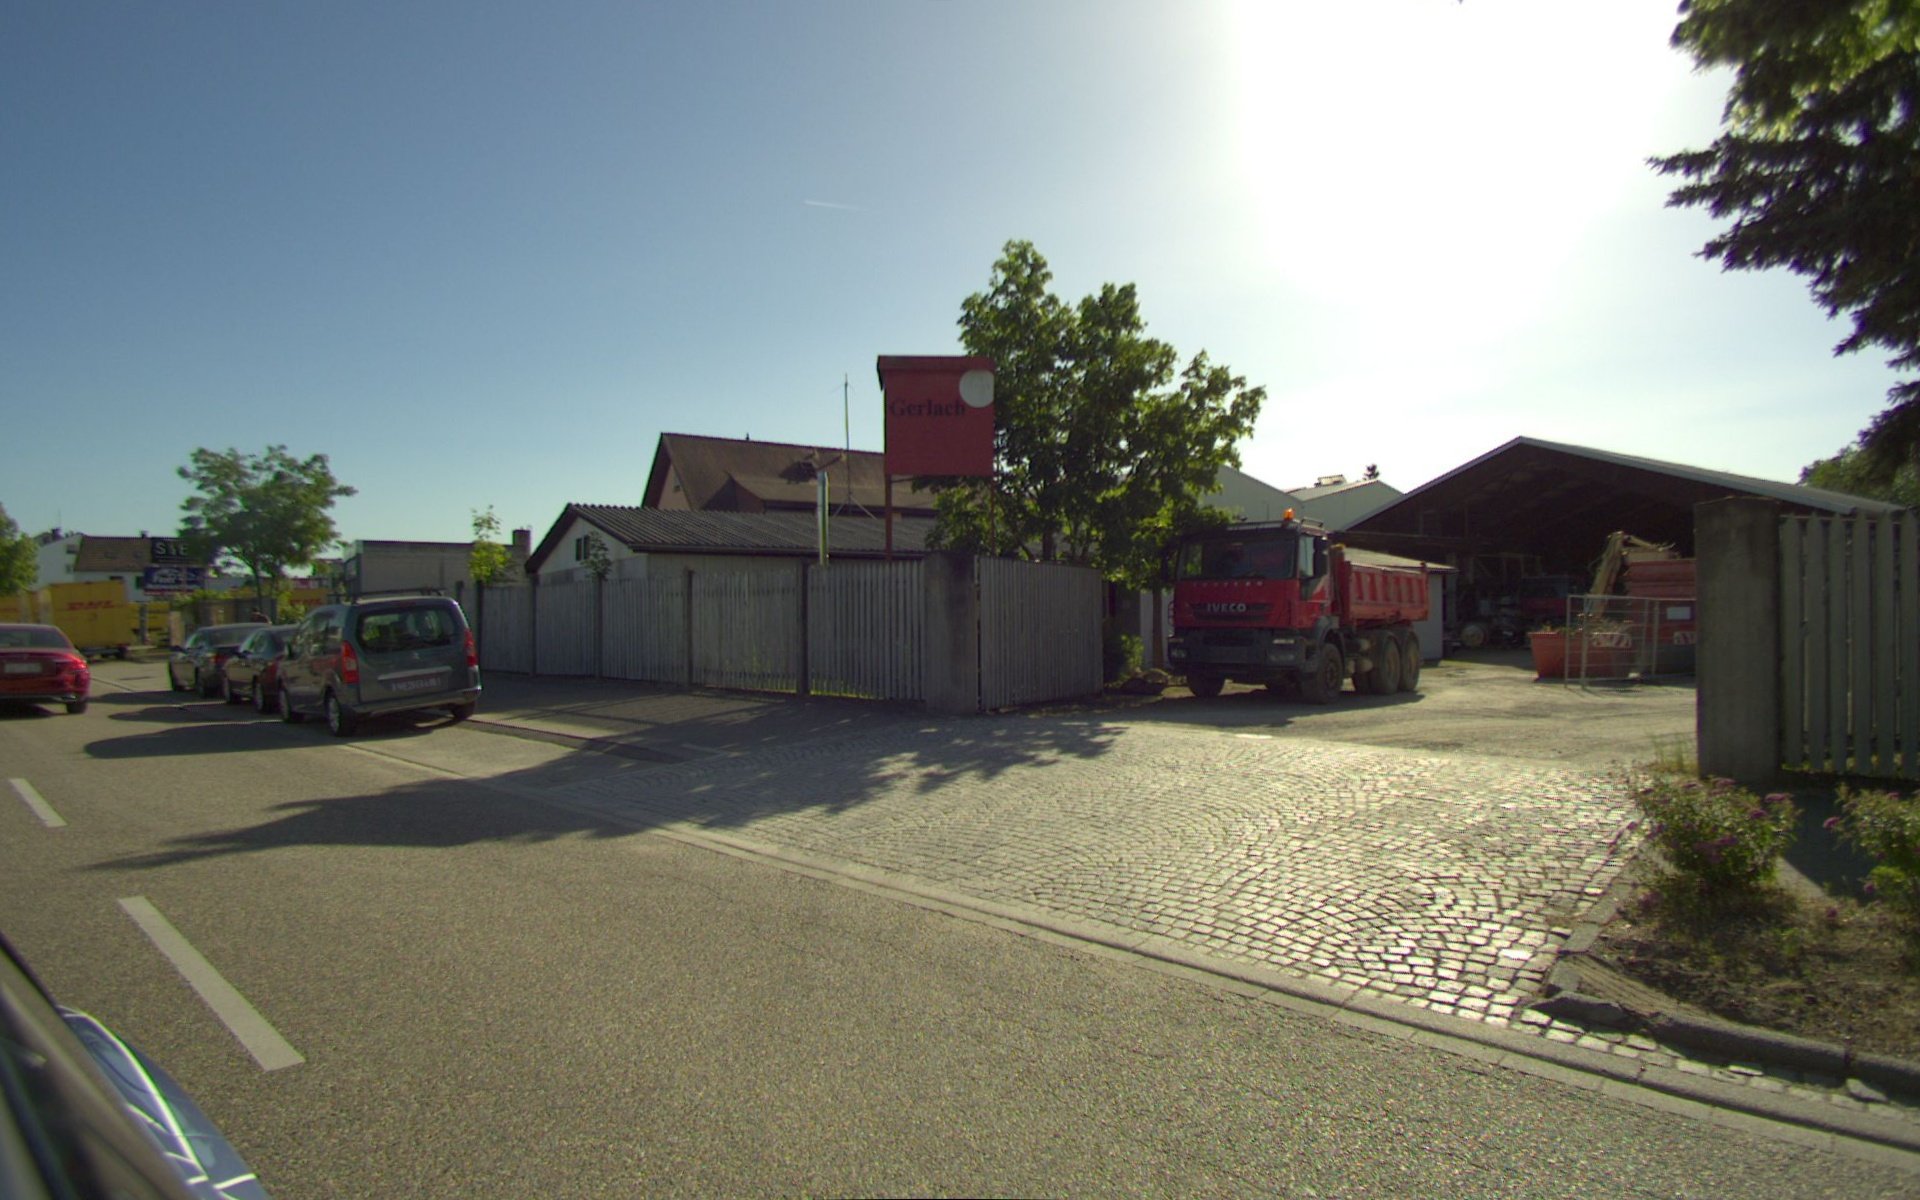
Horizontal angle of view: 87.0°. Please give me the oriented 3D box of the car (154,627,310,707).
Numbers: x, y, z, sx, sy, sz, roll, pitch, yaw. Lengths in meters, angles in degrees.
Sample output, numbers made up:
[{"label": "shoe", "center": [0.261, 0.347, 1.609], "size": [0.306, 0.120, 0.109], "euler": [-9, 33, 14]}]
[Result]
[{"label": "car", "center": [-15.653, 1.346, 21.651], "size": [4.923, 1.459, 1.756], "euler": [-2, 0, 43]}]

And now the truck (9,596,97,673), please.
[{"label": "truck", "center": [-36.958, 1.370, 41.186], "size": [5.749, 2.895, 2.116], "euler": [-1, 0, 43]}]

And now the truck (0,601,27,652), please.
[{"label": "truck", "center": [-59.578, 1.616, 62.641], "size": [5.910, 3.052, 2.256], "euler": [-1, 0, 43]}]

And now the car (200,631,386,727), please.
[{"label": "car", "center": [-12.244, 1.339, 18.448], "size": [4.615, 1.459, 1.756], "euler": [-2, 0, 43]}]

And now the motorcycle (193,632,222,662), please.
[{"label": "motorcycle", "center": [-27.641, 1.713, 37.156], "size": [0.530, 1.065, 2.071], "euler": [-2, 0, -44]}]

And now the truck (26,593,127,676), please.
[{"label": "truck", "center": [-31.947, 1.172, 36.533], "size": [5.749, 2.734, 2.144], "euler": [-1, 0, 43]}]

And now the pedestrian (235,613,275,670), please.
[{"label": "pedestrian", "center": [-22.471, 1.323, 32.262], "size": [0.750, 1.756, 0.811], "euler": [-1, 0, 36]}]

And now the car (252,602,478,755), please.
[{"label": "car", "center": [-8.882, 1.029, 14.913], "size": [1.755, 1.863, 4.618], "euler": [-2, 0, -45]}]

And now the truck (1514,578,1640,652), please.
[{"label": "truck", "center": [27.855, 0.666, 45.614], "size": [6.550, 3.115, 2.503], "euler": [1, -2, -36]}]

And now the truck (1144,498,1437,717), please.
[{"label": "truck", "center": [6.586, 0.190, 19.328], "size": [2.899, 3.365, 7.338], "euler": [-1, -2, 39]}]

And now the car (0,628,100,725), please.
[{"label": "car", "center": [-15.727, 1.187, 16.550], "size": [4.528, 1.431, 1.850], "euler": [-2, -4, 41]}]

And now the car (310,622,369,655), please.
[{"label": "car", "center": [-29.642, 1.829, 48.276], "size": [1.824, 1.454, 4.007], "euler": [3, -3, -39]}]
